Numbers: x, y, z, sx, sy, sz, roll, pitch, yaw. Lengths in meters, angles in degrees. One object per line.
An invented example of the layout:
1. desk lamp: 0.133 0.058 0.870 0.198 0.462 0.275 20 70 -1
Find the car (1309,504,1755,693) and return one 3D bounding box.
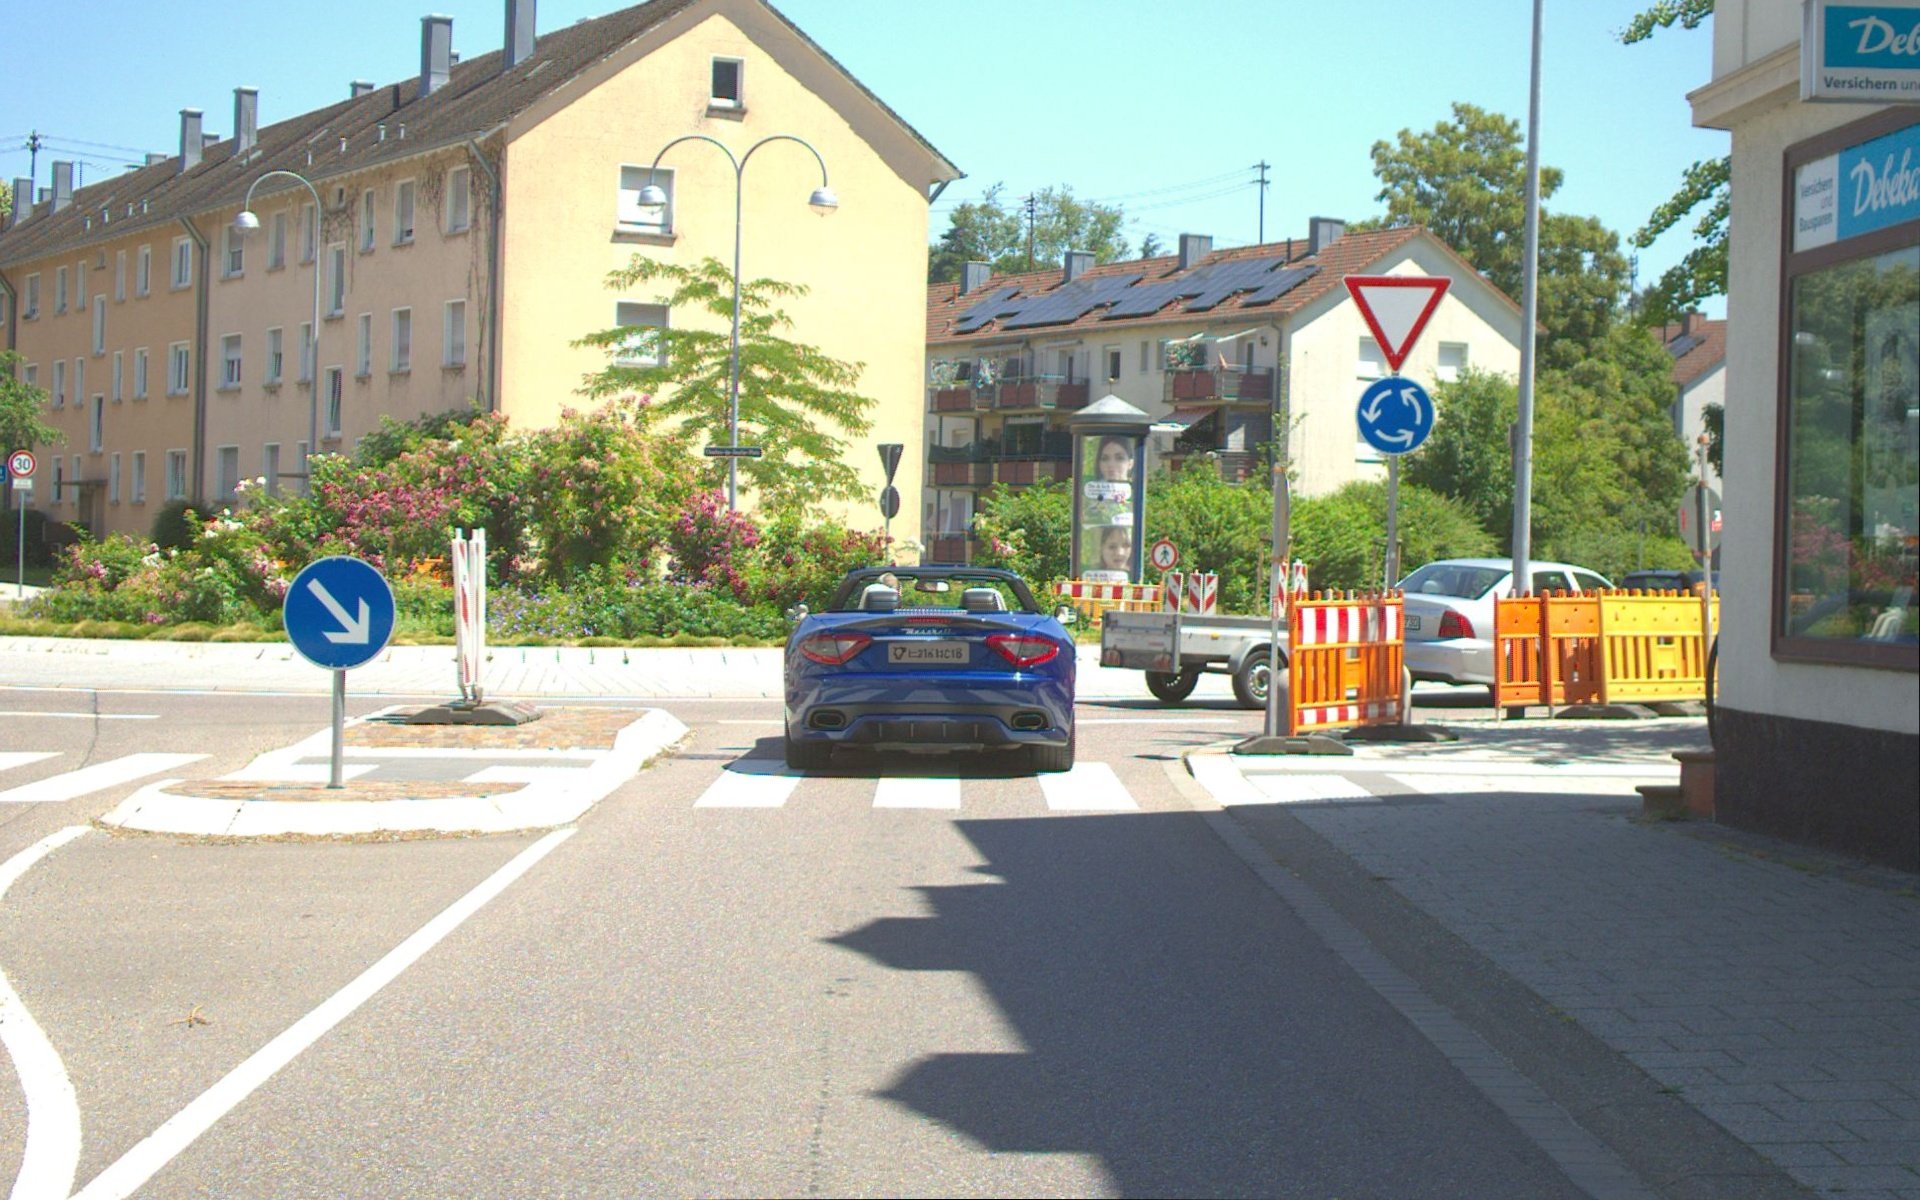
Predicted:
1. car: 5.606 -0.020 33.578 4.115 1.741 1.787 0 1 -32

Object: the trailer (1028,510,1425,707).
1. trailer: 2.452 0.050 31.591 3.187 1.711 1.757 0 2 -31

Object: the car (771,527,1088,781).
1. car: -0.308 0.355 23.605 1.870 1.525 4.507 2 -1 -4
